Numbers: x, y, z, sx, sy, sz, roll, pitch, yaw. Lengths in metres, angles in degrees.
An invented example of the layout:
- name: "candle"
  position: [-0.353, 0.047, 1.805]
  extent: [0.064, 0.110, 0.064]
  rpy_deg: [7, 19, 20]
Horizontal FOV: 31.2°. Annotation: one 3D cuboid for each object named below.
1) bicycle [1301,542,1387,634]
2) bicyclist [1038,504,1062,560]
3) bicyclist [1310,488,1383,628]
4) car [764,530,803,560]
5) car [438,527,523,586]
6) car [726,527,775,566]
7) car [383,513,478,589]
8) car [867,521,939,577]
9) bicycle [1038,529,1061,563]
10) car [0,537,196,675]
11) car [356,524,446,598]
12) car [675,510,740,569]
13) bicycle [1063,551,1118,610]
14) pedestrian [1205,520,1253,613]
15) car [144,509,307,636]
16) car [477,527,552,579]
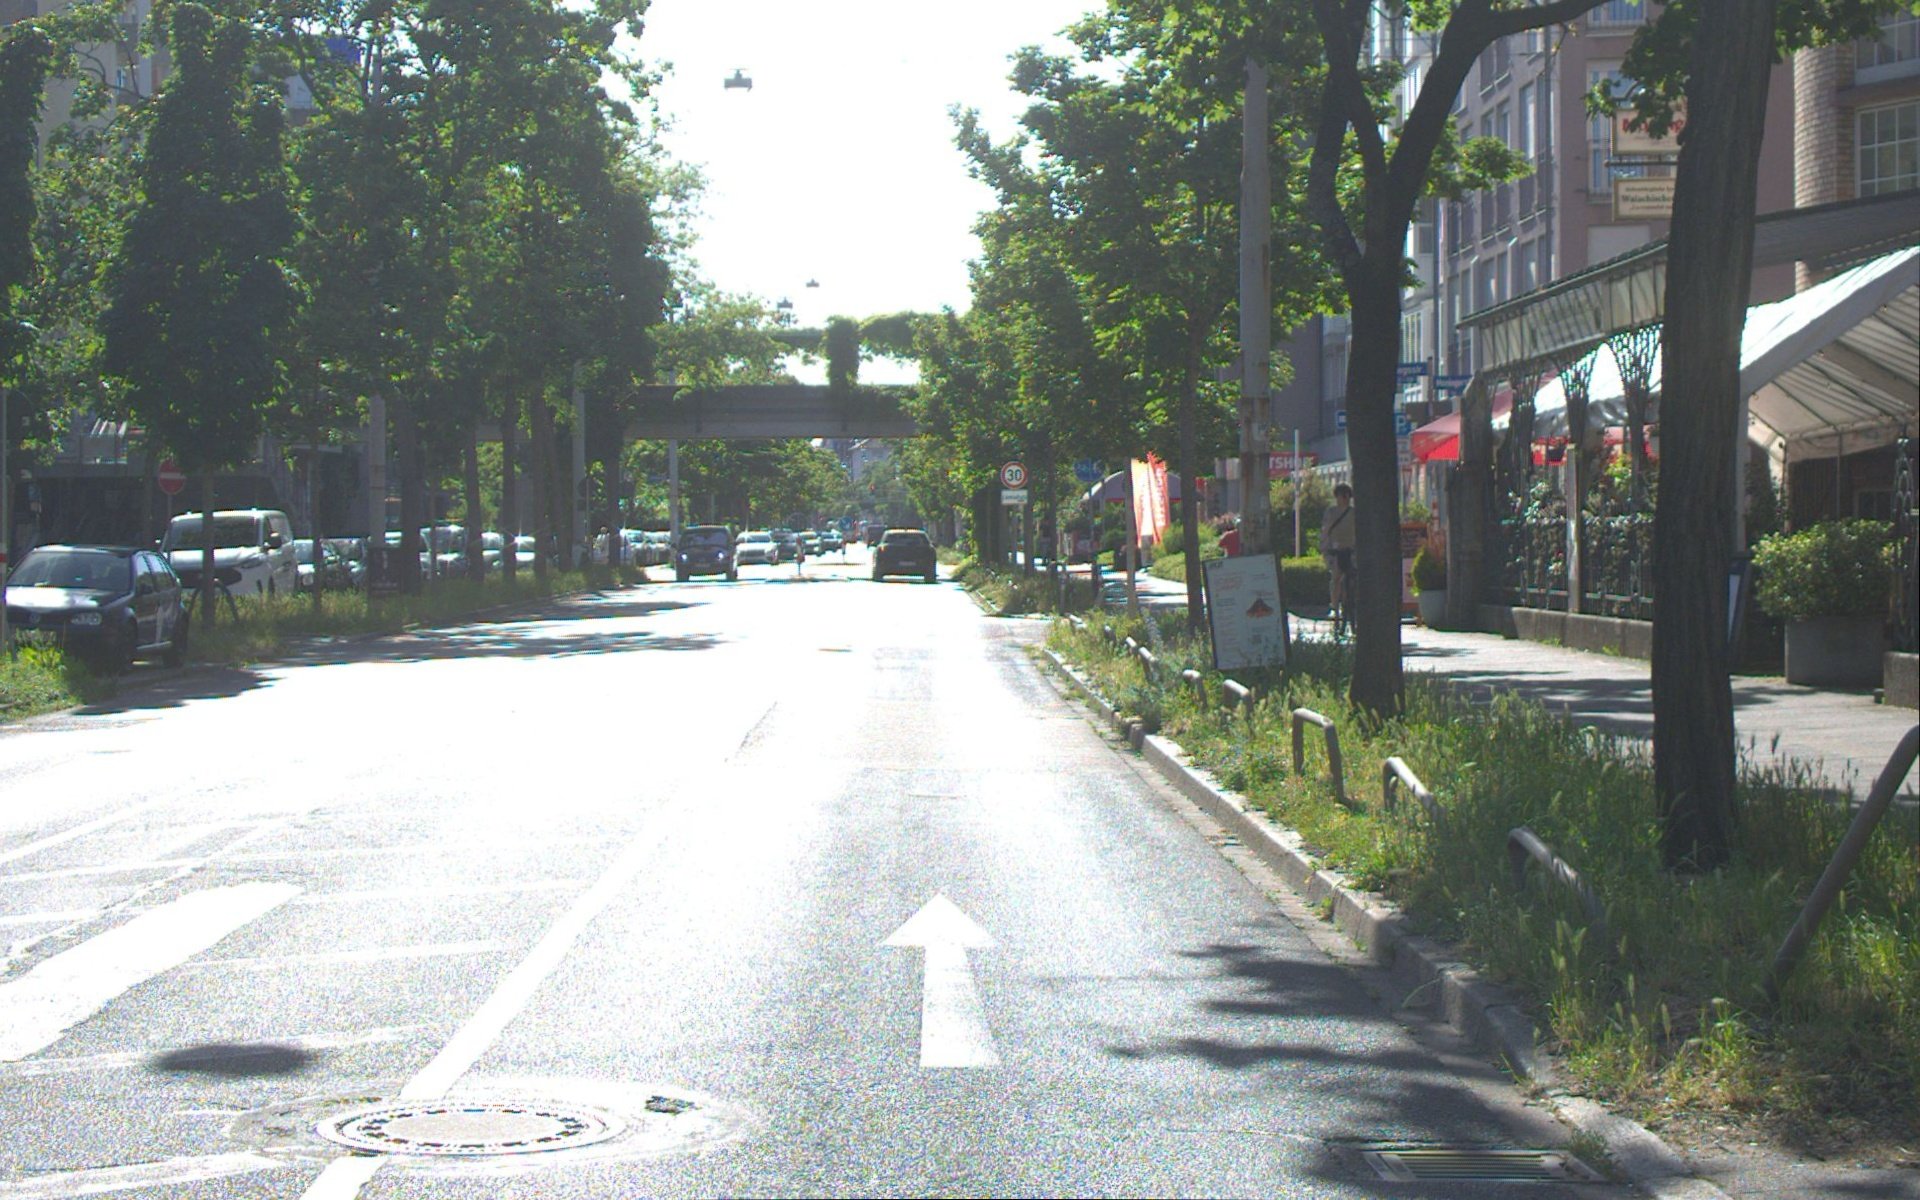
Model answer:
- name: "bicycle"
  position: [4.421, -0.140, 39.700]
  extent: [0.685, 1.024, 2.096]
  rpy_deg: [0, 0, -2]
- name: "bicyclist"
  position: [2.729, -2.058, 104.606]
  extent: [0.667, 1.689, 0.889]
  rpy_deg: [1, 0, -1]
- name: "bicyclist"
  position: [4.441, -0.483, 39.559]
  extent: [0.700, 1.594, 0.955]
  rpy_deg: [0, 0, -2]
- name: "car"
  position: [-8.955, -2.810, 174.982]
  extent: [1.855, 1.435, 4.319]
  rpy_deg: [-2, 1, -2]
- name: "car"
  position: [-13.305, -1.220, 95.576]
  extent: [1.855, 1.563, 3.872]
  rpy_deg: [1, 1, 0]
- name: "car"
  position: [-8.767, -2.259, 144.127]
  extent: [1.855, 1.563, 4.716]
  rpy_deg: [-2, 1, -2]
- name: "car"
  position: [-13.450, -1.260, 87.543]
  extent: [1.855, 1.843, 4.562]
  rpy_deg: [1, 1, -2]
- name: "car"
  position: [-1.686, -1.519, 100.828]
  extent: [1.984, 1.595, 4.141]
  rpy_deg: [1, 1, -2]
- name: "bicycle"
  position: [2.715, -1.641, 104.790]
  extent: [0.589, 1.024, 1.860]
  rpy_deg: [0, 0, -2]
- name: "car"
  position: [-10.036, 0.030, 39.161]
  extent: [1.712, 1.453, 4.072]
  rpy_deg: [1, 1, 0]
- name: "car"
  position: [-13.234, -0.949, 81.630]
  extent: [1.855, 1.678, 4.666]
  rpy_deg: [1, 1, -6]
- name: "car"
  position: [-8.067, -1.940, 109.990]
  extent: [1.855, 1.819, 4.610]
  rpy_deg: [-2, 1, -2]
- name: "bicycle"
  position: [2.454, -0.374, 64.519]
  extent: [0.591, 1.062, 2.021]
  rpy_deg: [0, 1, 15]
- name: "pedestrian"
  position: [4.738, -0.581, 60.554]
  extent: [0.653, 1.598, 0.603]
  rpy_deg: [-3, 0, -6]
- name: "car"
  position: [-12.851, -0.509, 60.440]
  extent: [1.981, 2.069, 5.197]
  rpy_deg: [-2, 1, -4]
- name: "car"
  position: [-13.586, -1.454, 105.122]
  extent: [1.855, 1.518, 4.319]
  rpy_deg: [1, 1, -2]
